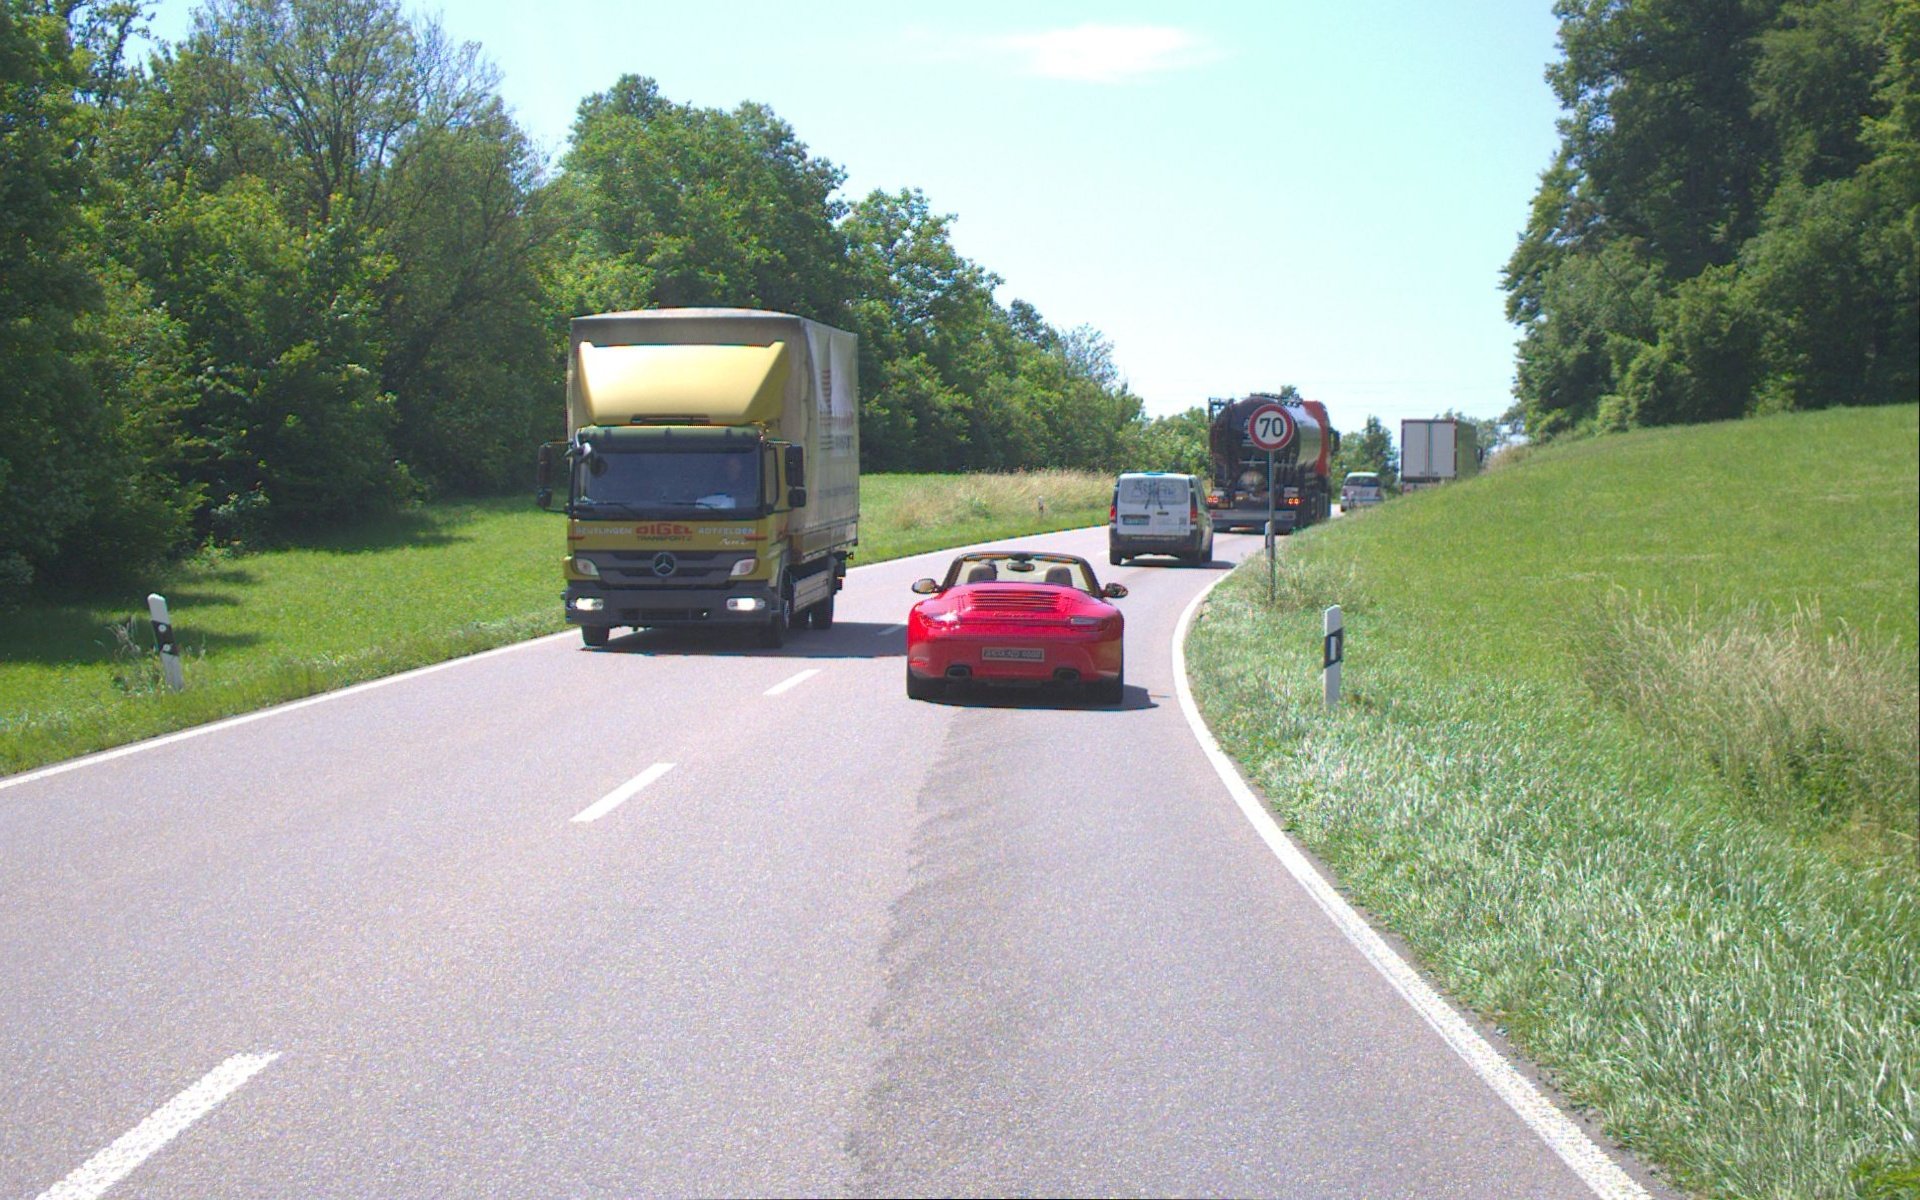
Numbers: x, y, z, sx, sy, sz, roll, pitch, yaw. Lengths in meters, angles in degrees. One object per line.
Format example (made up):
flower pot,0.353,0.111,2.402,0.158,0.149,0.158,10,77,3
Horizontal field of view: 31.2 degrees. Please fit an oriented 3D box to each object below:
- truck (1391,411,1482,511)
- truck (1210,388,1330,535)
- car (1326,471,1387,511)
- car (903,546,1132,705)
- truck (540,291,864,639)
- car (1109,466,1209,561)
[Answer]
truck,23.159,-6.725,166.514,3.727,4.644,12.026,0,2,11
truck,9.177,-4.060,100.682,2.405,4.035,12.546,1,2,10
car,15.514,-4.270,134.337,1.832,1.508,4.188,0,2,14
car,0.450,0.179,30.374,1.882,1.250,4.010,0,2,-1
truck,-2.868,-1.531,40.829,2.730,3.678,8.545,1,1,3
car,4.184,-1.838,71.794,1.679,1.894,4.008,0,3,9
